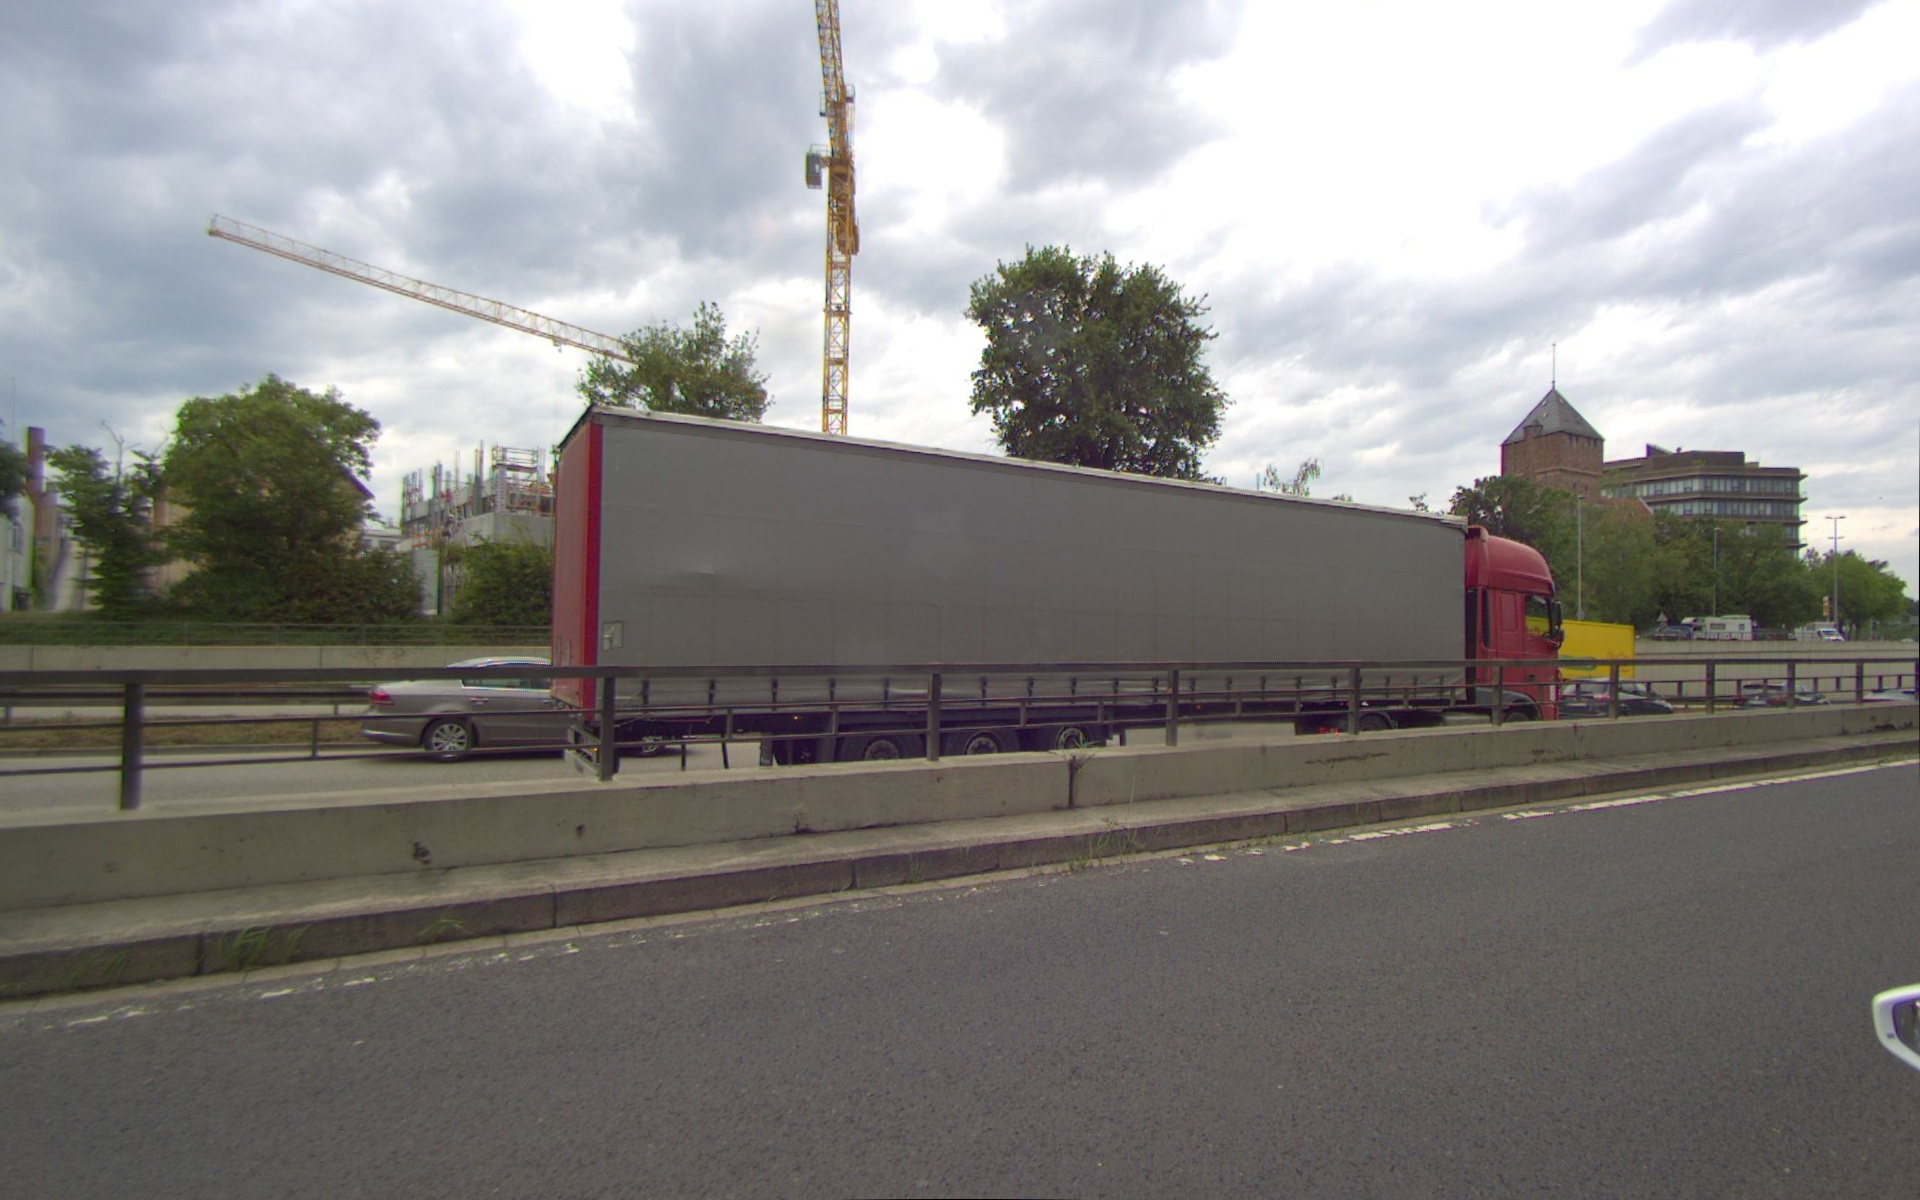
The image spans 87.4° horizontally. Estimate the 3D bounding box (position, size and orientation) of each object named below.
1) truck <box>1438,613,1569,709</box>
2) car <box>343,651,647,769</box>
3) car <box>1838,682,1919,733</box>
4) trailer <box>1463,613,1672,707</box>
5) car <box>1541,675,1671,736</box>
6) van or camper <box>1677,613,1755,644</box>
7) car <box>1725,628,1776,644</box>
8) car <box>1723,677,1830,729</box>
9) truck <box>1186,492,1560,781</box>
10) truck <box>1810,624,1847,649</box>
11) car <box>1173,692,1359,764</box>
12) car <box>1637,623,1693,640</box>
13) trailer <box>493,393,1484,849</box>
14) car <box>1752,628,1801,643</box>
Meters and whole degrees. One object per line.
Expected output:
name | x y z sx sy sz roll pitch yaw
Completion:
truck | 24.661 2.712 45.525 6.026 4.089 2.512 2 -2 -31
car | -6.761 1.542 14.838 3.848 1.460 1.617 2 0 -28
car | 27.510 3.090 29.370 3.852 1.229 1.647 2 0 -31
trailer | 29.547 2.854 48.438 13.618 4.089 2.512 2 -2 -31
car | 18.974 3.042 29.459 3.852 1.549 1.647 2 0 -31
van or camper | 75.916 2.846 100.931 5.805 2.847 2.147 2 0 15
car | 84.098 3.809 106.875 3.919 1.460 1.630 2 0 9
car | 28.457 3.538 34.992 3.851 1.549 1.616 2 0 -30
truck | 7.042 0.643 16.940 6.130 4.089 2.692 2 -2 -30
truck | 111.279 4.654 128.799 1.986 3.026 7.087 2 0 28
car | 6.635 2.718 21.728 3.851 1.229 1.648 2 0 -30
car | 66.243 2.963 94.436 3.919 1.460 1.630 2 0 9
trailer | 1.646 0.440 13.788 14.384 4.089 2.639 2 -2 -30
car | 90.632 3.943 111.512 3.919 1.460 1.630 2 0 9
